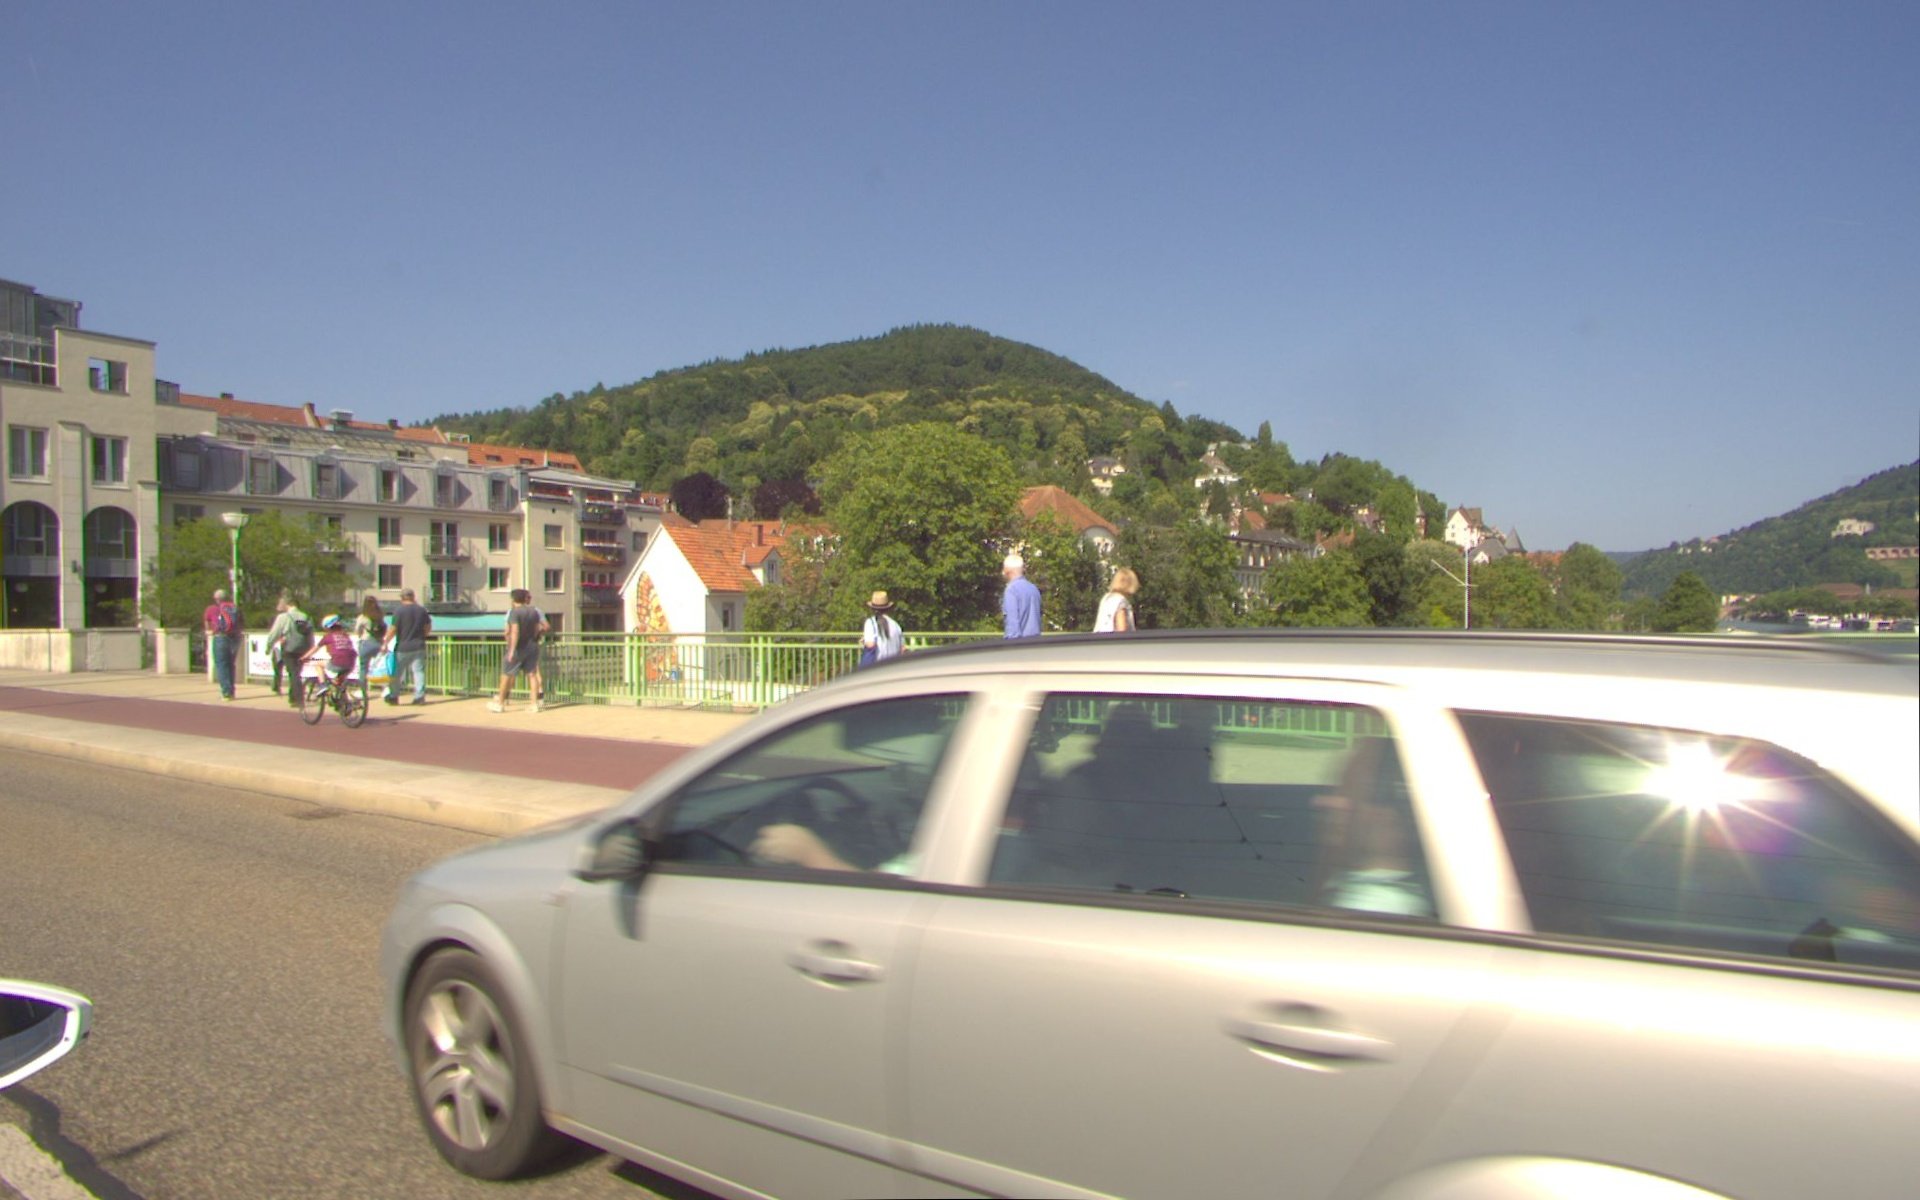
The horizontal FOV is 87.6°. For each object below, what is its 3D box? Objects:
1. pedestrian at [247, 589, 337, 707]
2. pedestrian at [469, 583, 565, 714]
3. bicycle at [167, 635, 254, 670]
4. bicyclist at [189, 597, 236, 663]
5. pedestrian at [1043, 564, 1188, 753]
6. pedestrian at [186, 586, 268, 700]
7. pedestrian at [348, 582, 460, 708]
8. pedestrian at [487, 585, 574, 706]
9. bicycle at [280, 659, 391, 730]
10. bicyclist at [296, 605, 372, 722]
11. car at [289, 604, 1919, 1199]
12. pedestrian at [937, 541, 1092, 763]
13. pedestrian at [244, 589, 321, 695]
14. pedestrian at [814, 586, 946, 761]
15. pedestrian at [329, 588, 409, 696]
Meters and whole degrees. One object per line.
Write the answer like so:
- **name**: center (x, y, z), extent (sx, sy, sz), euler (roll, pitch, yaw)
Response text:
- **pedestrian**: center (-10.315, 0.715, 15.468), extent (1.058, 1.741, 0.752), euler (0, 2, 32)
- **pedestrian**: center (-6.147, 0.652, 13.902), extent (1.001, 1.741, 0.737), euler (0, 2, 32)
- **bicycle**: center (-20.099, 1.394, 26.861), extent (1.809, 0.894, 0.793), euler (2, -2, -42)
- **bicyclist**: center (-20.073, 0.806, 26.891), extent (0.915, 1.717, 1.133), euler (1, -2, -41)
- **pedestrian**: center (1.497, 0.519, 9.587), extent (1.067, 1.685, 0.945), euler (0, 2, 32)
- **pedestrian**: center (-12.271, 0.699, 16.764), extent (1.001, 1.826, 0.737), euler (0, 2, 32)
- **pedestrian**: center (-8.412, 0.651, 15.162), extent (1.190, 1.801, 0.975), euler (0, 2, 32)
- **pedestrian**: center (-6.431, 0.655, 14.988), extent (1.001, 1.741, 0.737), euler (0, 1, 32)
- **bicycle**: center (-7.811, 1.161, 12.497), extent (1.637, 0.776, 0.512), euler (-1, 1, 33)
- **bicyclist**: center (-7.792, 0.772, 12.467), extent (0.659, 1.402, 0.532), euler (0, 2, 33)
- **car**: center (0.175, 0.795, 2.678), extent (4.264, 1.484, 1.703), euler (-1, -2, 32)
- **pedestrian**: center (0.515, 0.458, 9.346), extent (1.121, 1.923, 0.924), euler (0, 1, 32)
- **pedestrian**: center (-11.888, 0.717, 17.574), extent (1.001, 1.801, 0.737), euler (0, 2, 32)
- **pedestrian**: center (-0.752, 0.659, 9.531), extent (0.920, 1.550, 0.827), euler (0, 2, 32)
- **pedestrian**: center (-9.985, 0.688, 16.913), extent (1.001, 1.770, 0.737), euler (0, 2, 32)
